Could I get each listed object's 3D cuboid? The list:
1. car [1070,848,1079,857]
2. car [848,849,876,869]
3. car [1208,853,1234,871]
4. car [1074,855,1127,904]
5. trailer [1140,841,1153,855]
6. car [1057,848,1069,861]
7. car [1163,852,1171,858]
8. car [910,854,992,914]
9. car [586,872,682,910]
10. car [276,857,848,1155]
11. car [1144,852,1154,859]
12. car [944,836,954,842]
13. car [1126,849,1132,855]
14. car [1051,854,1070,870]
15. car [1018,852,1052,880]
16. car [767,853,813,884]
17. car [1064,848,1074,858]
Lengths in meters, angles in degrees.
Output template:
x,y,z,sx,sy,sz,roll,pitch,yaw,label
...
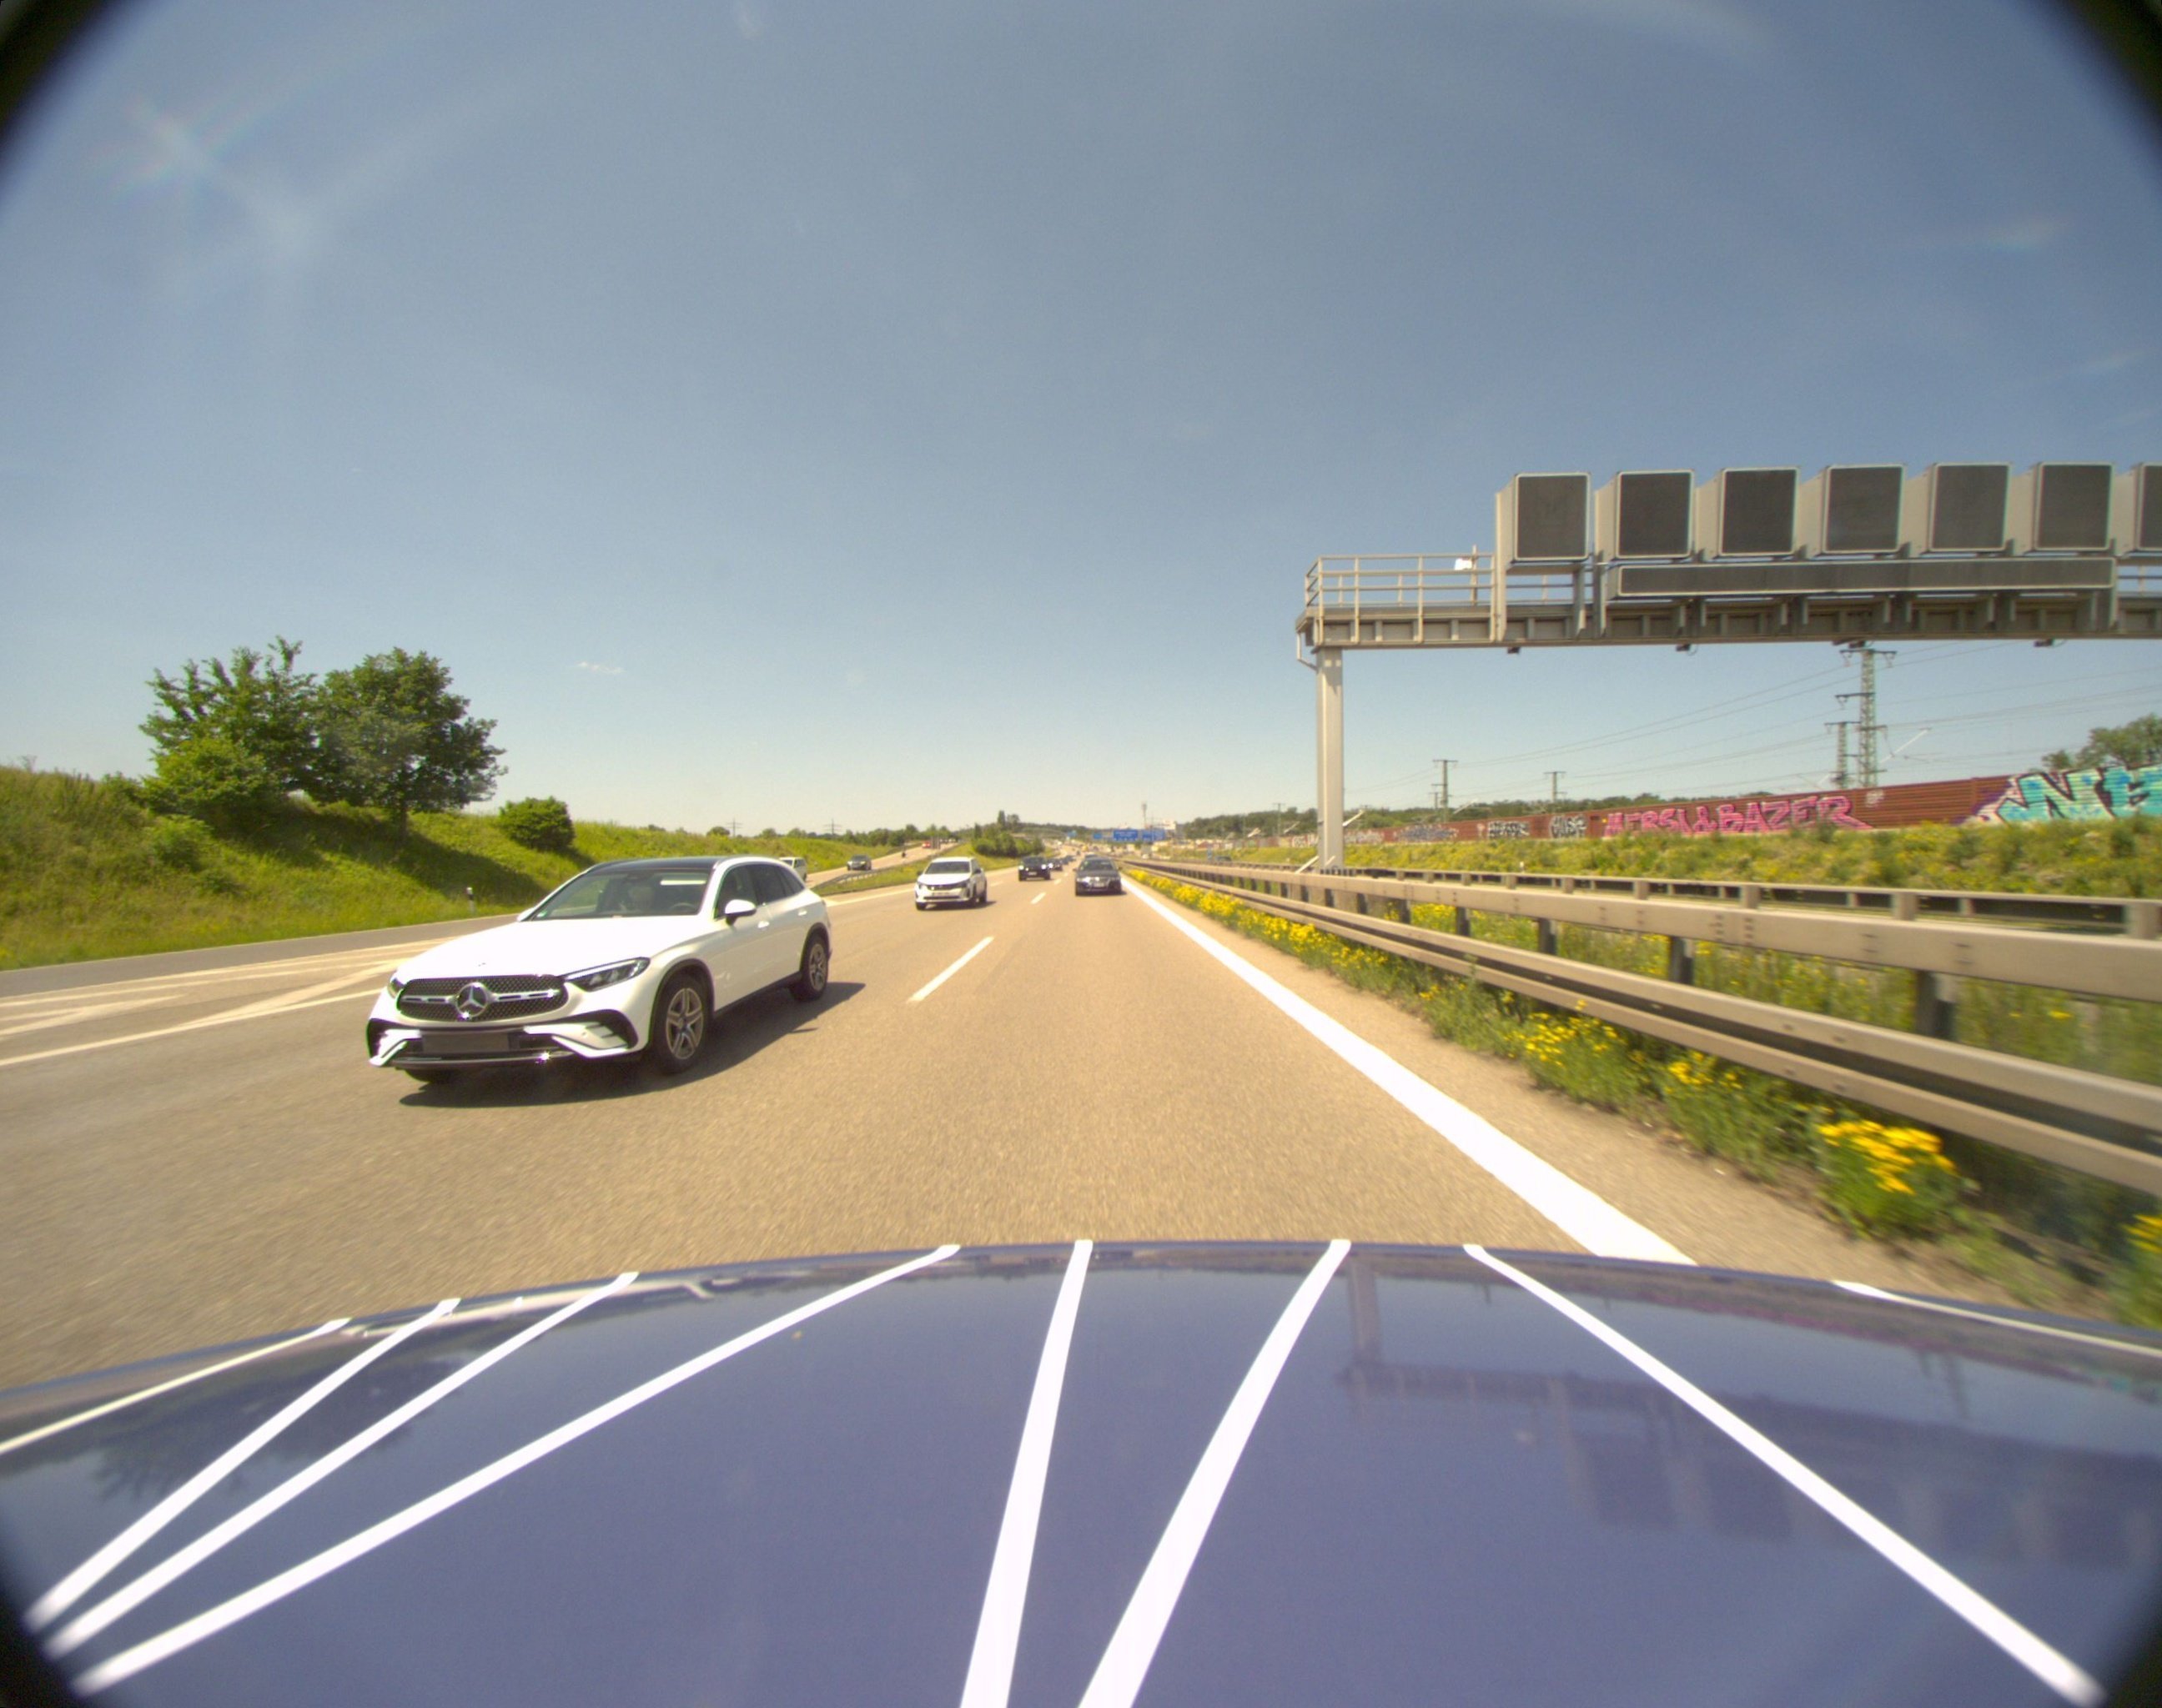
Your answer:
x,y,z,sx,sy,sz,roll,pitch,yaw,label
-1.570,-0.348,185.298,1.998,2.002,3.999,-3,2,1,car
-23.761,0.517,82.650,1.999,2.002,3.998,-3,2,-3,car
13.394,0.739,72.788,1.808,1.565,4.000,-2,0,1,car
0.634,0.868,27.573,1.752,1.462,3.998,-2,2,-1,car
20.180,-1.836,236.112,2.737,4.050,13.527,0,1,-1,trailer
-3.004,0.112,128.558,1.999,2.002,3.999,-2,1,-1,car
23.042,0.266,202.571,1.725,1.535,3.809,-1,0,1,car
-4.194,0.907,25.300,1.898,1.620,4.615,-2,1,0,car
-19.579,1.570,33.505,2.000,1.375,4.294,-2,0,-6,car
-3.841,0.934,6.913,1.909,1.646,4.636,-2,1,1,car
15.159,0.356,169.390,1.917,1.535,4.809,-2,0,1,car
-35.841,-4.018,205.977,1.983,1.620,4.615,-2,1,-1,car
16.429,-0.738,259.354,1.998,2.002,4.000,-2,0,1,car
-2.106,0.797,76.967,1.752,1.462,3.998,-2,2,-2,car
-3.043,0.757,51.077,1.983,1.620,4.615,-2,1,-1,car
-21.928,1.058,57.440,2.000,2.159,4.890,-2,0,-7,car
-2.658,-0.245,166.409,1.999,2.002,3.999,-2,1,-1,car
